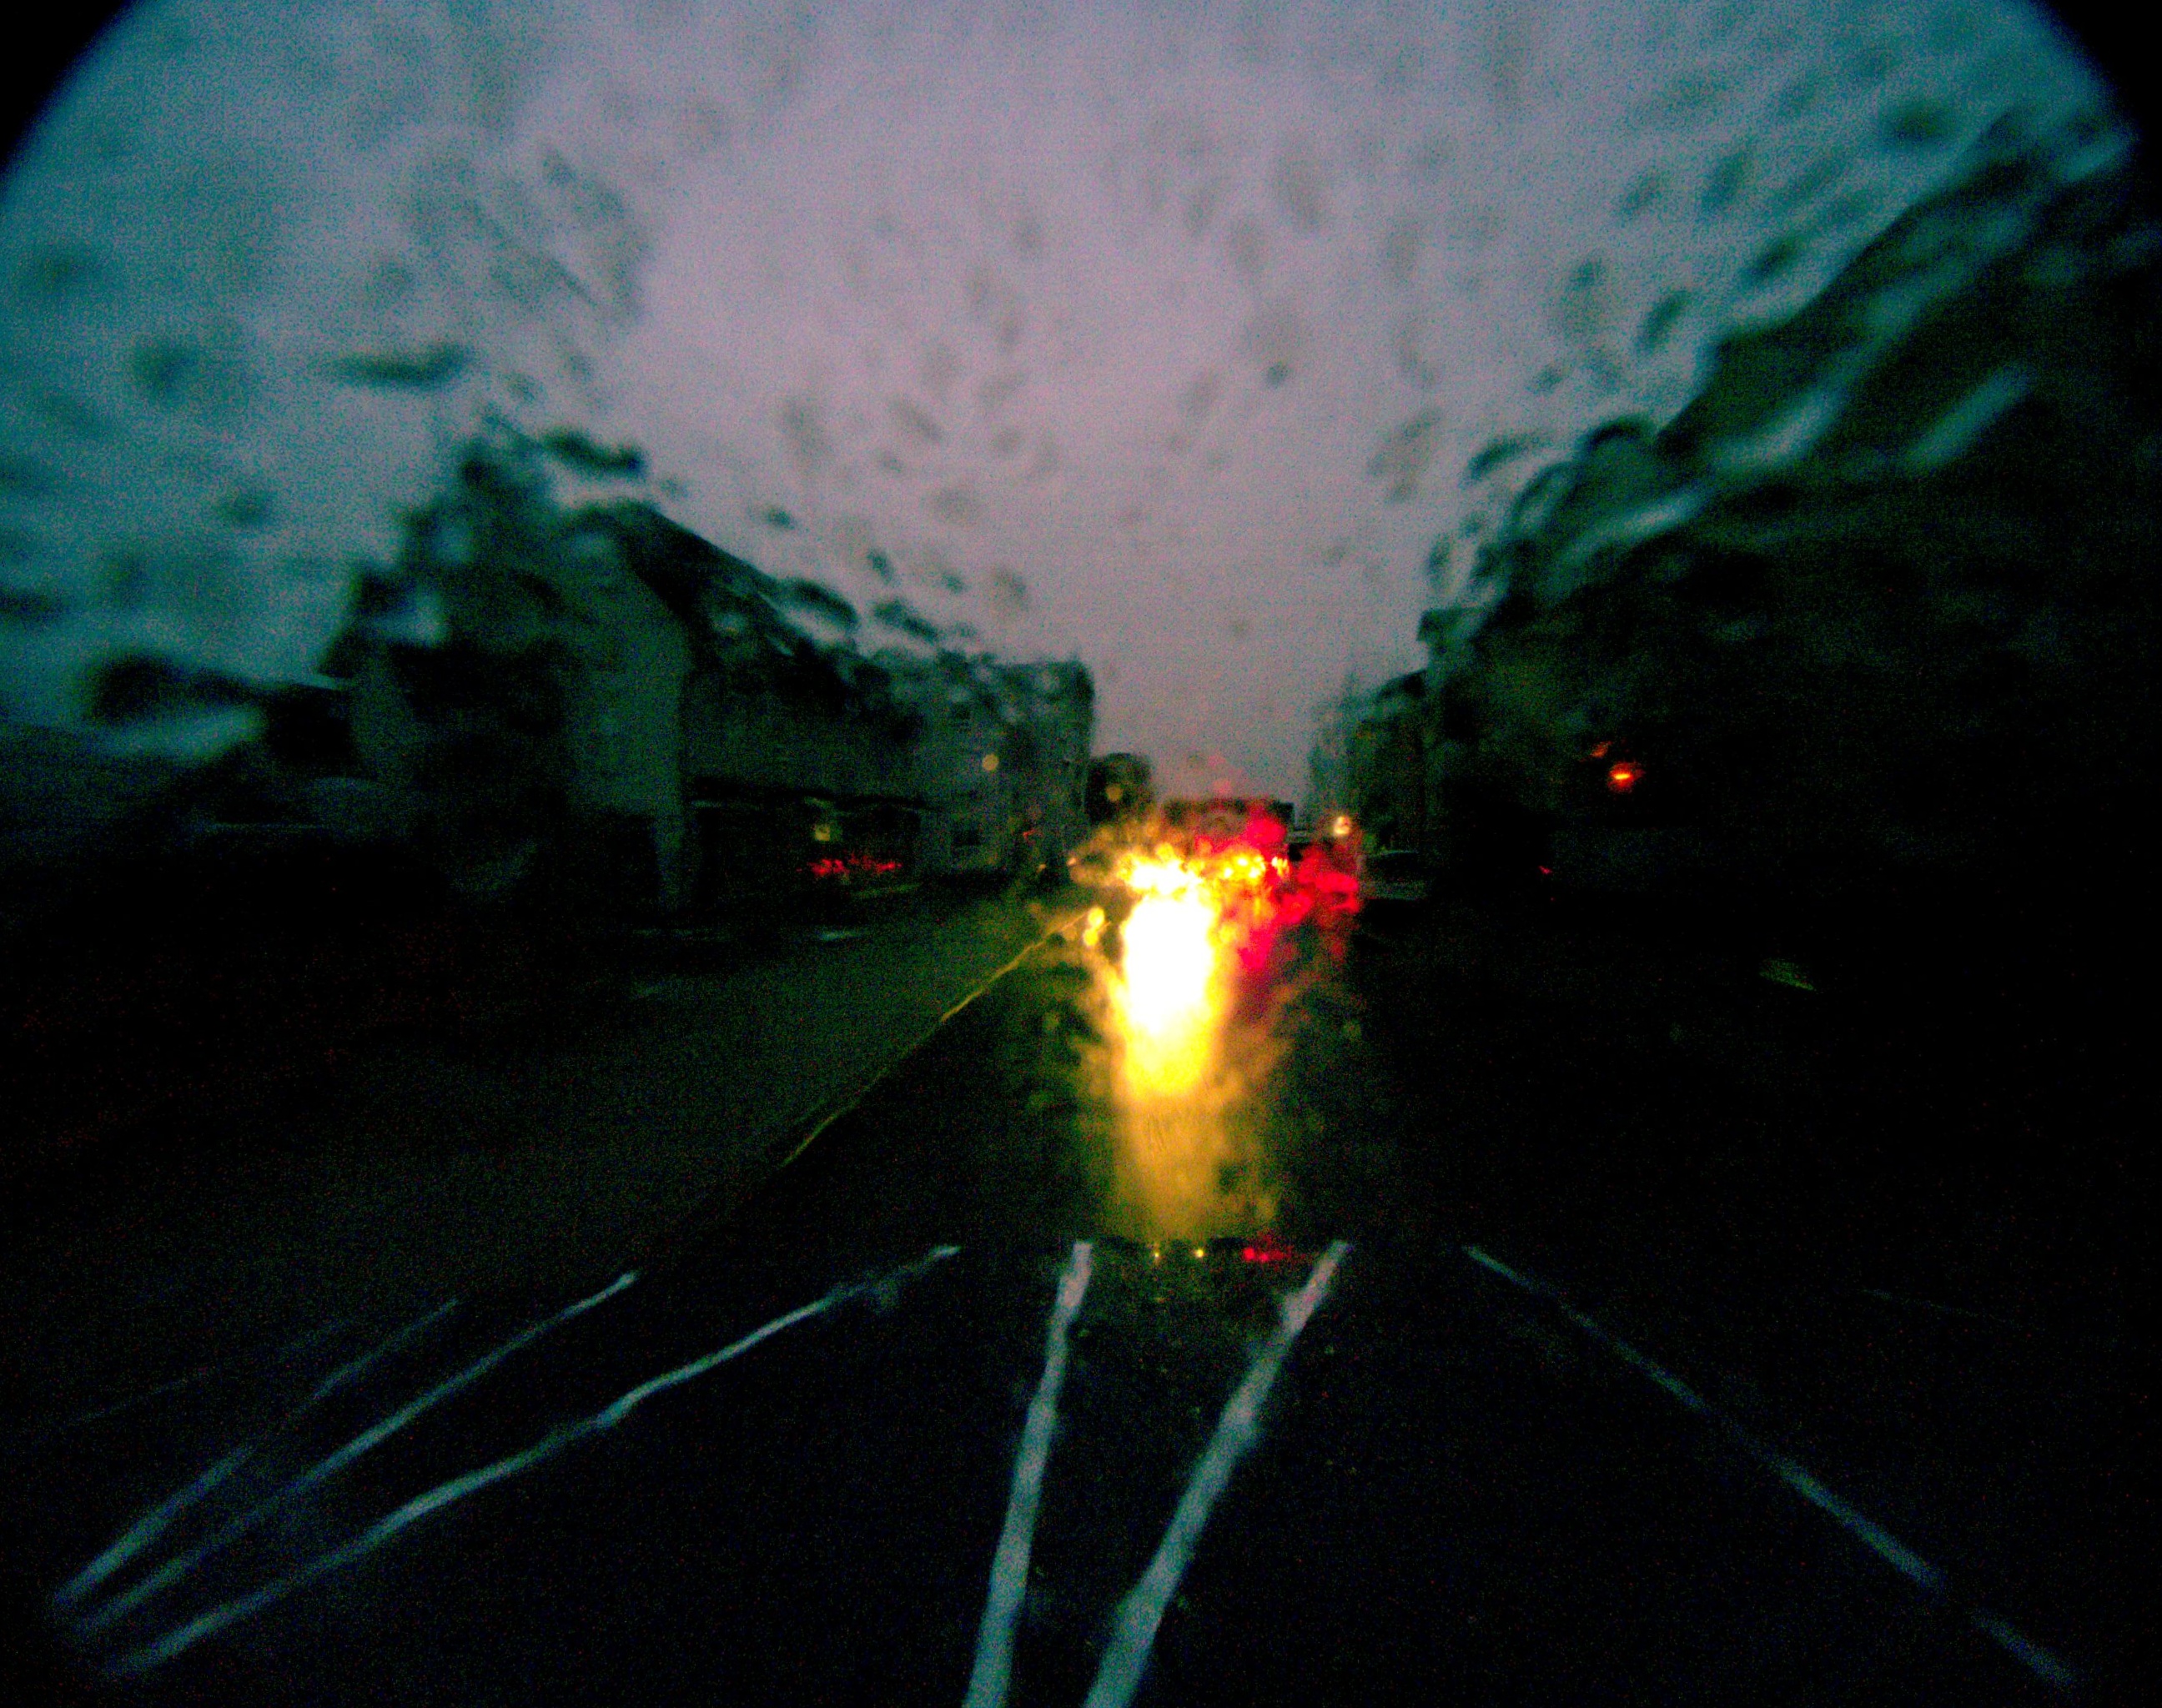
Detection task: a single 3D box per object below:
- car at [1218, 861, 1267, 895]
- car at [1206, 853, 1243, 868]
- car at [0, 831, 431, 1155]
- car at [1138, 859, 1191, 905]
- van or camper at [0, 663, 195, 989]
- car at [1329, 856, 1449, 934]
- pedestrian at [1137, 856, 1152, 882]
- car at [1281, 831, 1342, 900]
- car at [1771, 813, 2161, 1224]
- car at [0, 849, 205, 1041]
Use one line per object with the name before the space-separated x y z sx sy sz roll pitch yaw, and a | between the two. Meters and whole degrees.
car | 7.890 1.112 36.877 1.996 1.491 4.005 -1 0 16
car | 17.217 0.776 91.072 3.989 1.637 1.865 2 0 28
car | -6.917 0.779 4.840 1.785 1.811 4.245 0 0 2
car | 3.341 1.035 29.736 1.877 1.622 4.003 -1 0 8
van or camper | -12.785 -0.361 6.272 2.437 3.489 7.123 3 0 0
car | 7.568 0.924 19.112 1.938 1.660 4.345 -3 -1 11
pedestrian | 4.128 0.959 49.156 0.652 1.651 0.648 2 0 -44
car | 9.605 0.466 31.955 2.045 2.644 4.214 -3 -1 13
car | 5.844 0.715 3.150 1.884 1.888 4.837 -2 -1 6
car | -9.887 0.739 5.606 1.785 1.533 4.245 3 0 2
